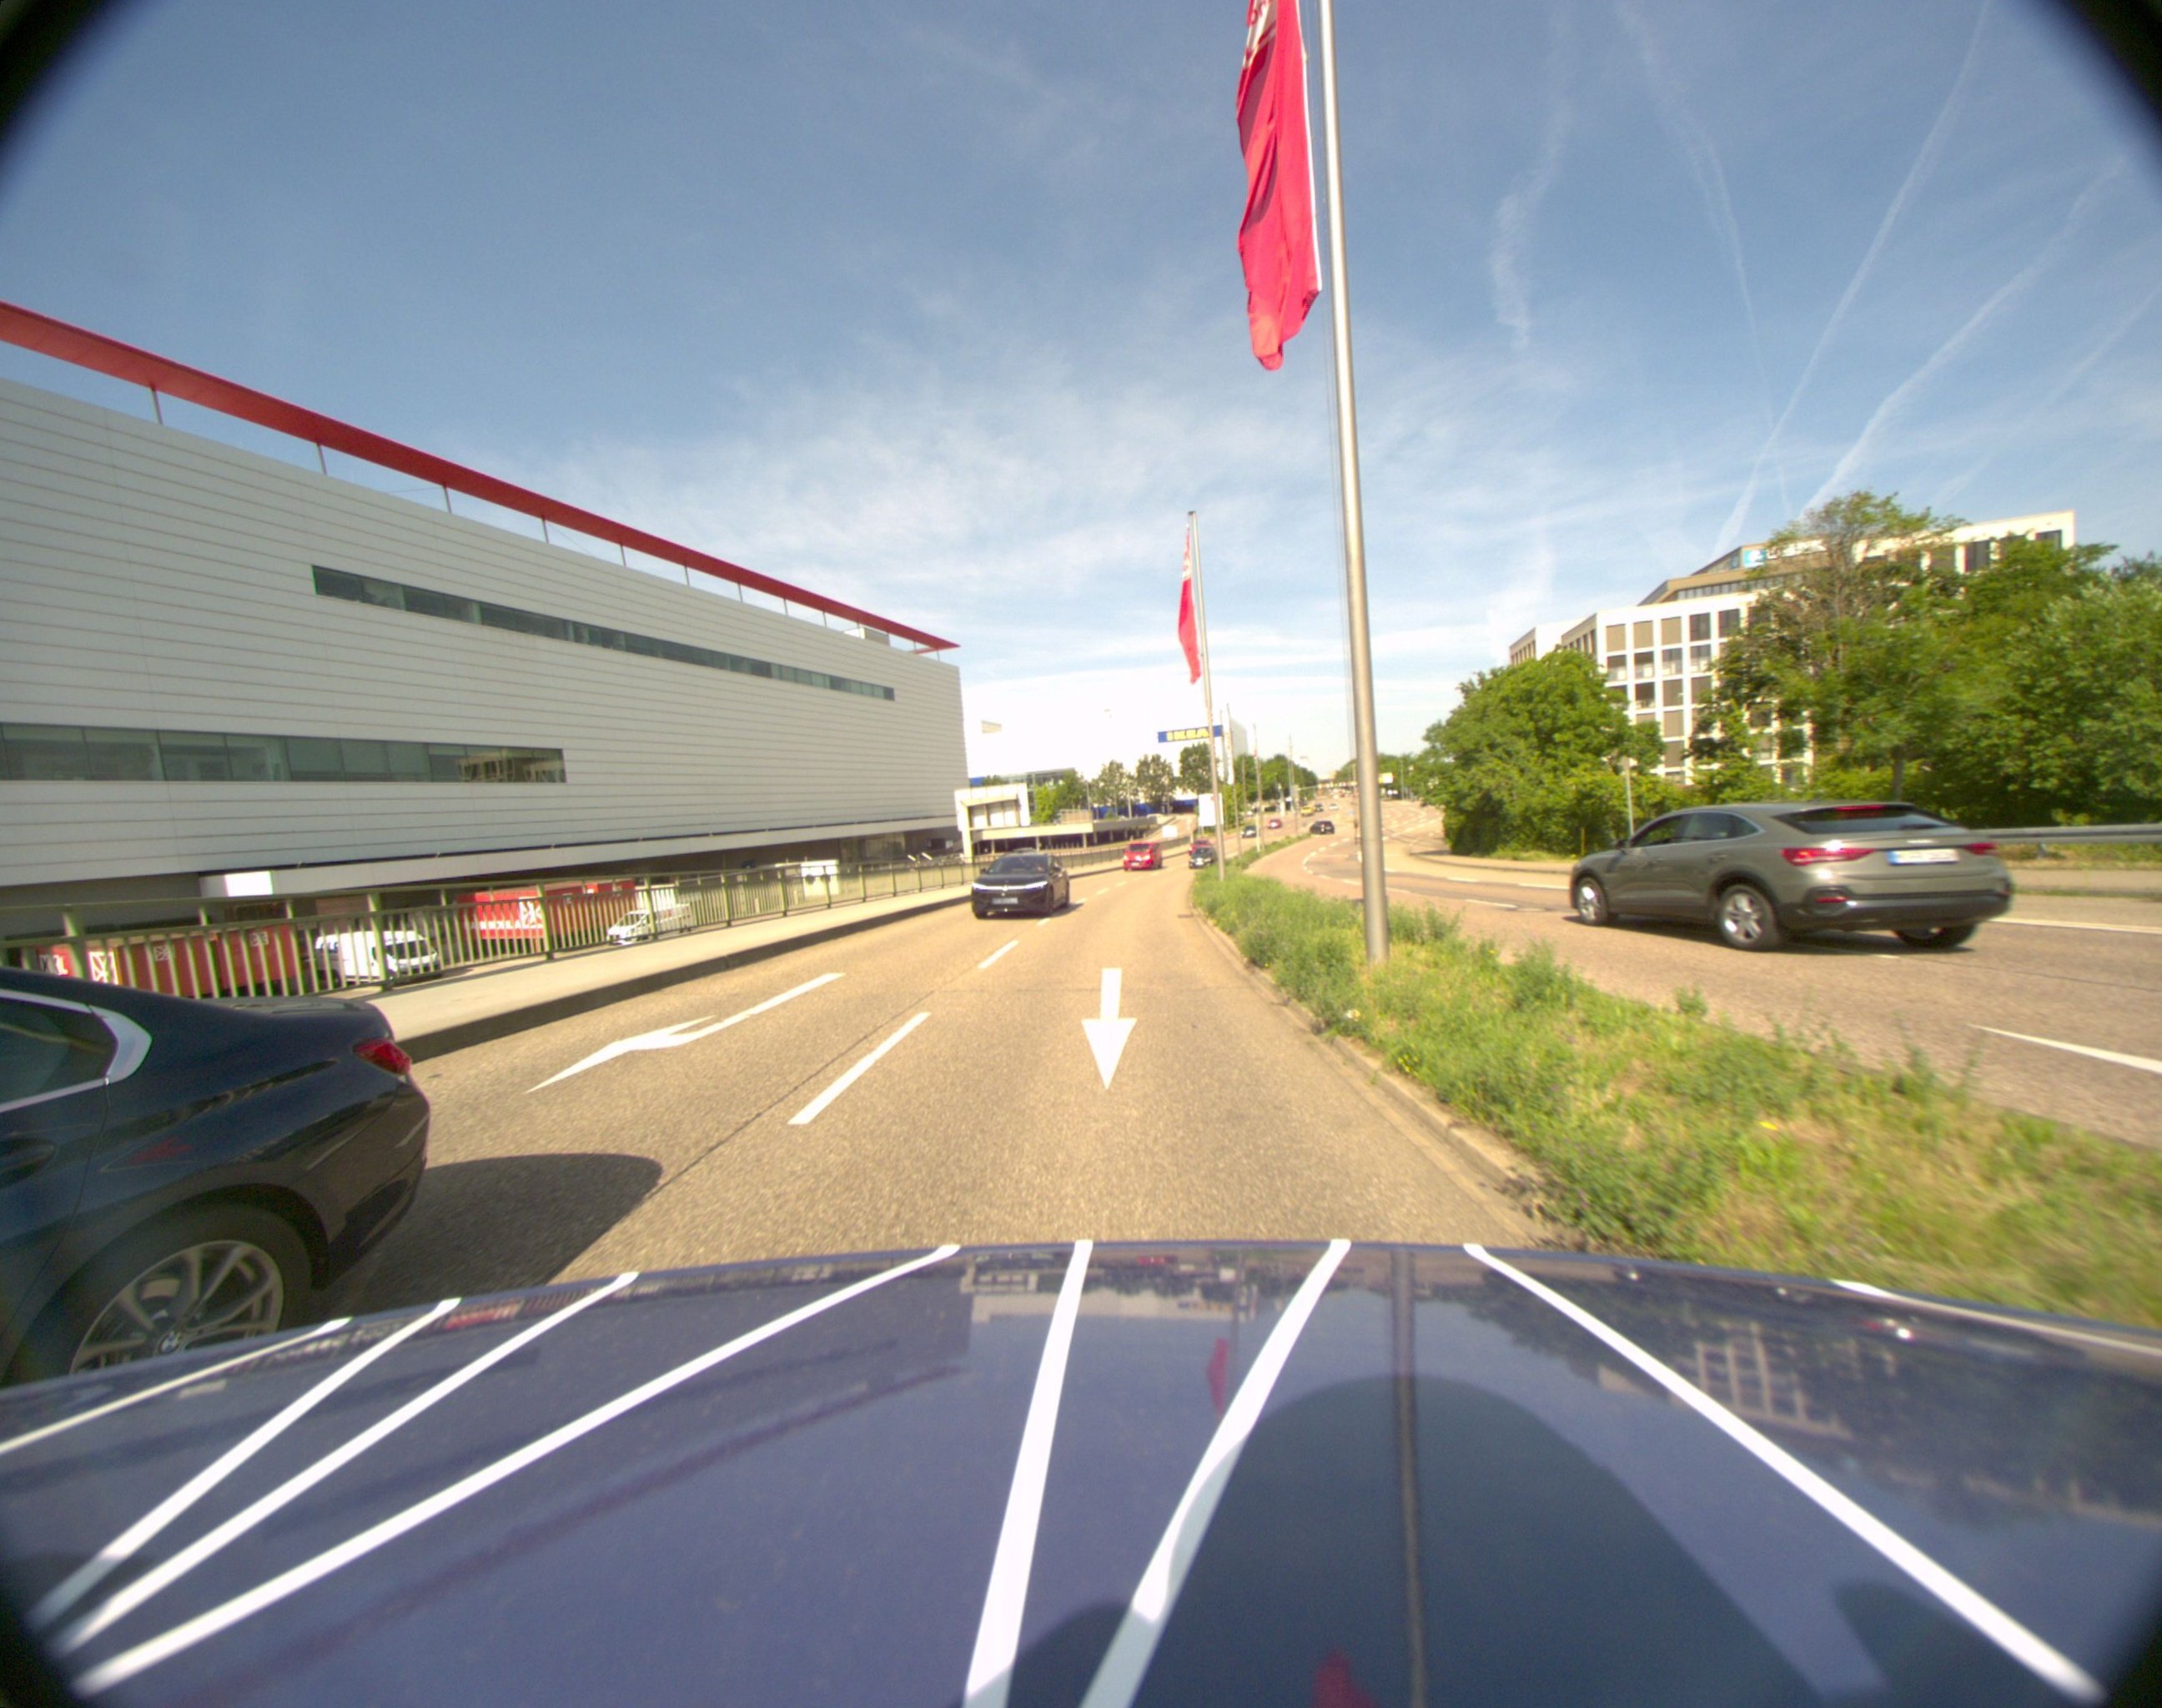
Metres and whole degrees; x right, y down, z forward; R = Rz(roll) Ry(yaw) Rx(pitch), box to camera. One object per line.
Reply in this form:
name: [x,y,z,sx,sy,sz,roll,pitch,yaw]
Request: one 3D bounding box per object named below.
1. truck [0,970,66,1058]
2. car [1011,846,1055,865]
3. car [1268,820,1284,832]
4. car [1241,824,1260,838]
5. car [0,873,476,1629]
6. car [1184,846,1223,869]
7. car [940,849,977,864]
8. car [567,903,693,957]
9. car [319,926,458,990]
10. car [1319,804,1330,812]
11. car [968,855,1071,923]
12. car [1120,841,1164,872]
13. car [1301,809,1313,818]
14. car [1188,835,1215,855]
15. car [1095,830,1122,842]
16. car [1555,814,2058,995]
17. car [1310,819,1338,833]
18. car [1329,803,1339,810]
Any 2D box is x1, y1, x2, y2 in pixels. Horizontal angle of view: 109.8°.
truck: [-42.208,6.151,29.220,5.999,2.912,2.134,-4,4,23]
car: [-5.340,0.178,84.787,4.407,1.723,1.864,-3,4,29]
car: [29.776,-4.312,116.033,1.823,1.467,4.003,-3,4,20]
car: [21.936,-2.991,97.987,1.823,1.467,4.003,-3,4,20]
car: [-3.212,1.015,0.513,1.792,1.476,4.517,-4,4,1]
car: [8.610,0.229,52.980,1.847,1.410,4.005,-2,2,21]
car: [-14.603,0.278,90.688,3.861,1.368,1.812,-5,2,19]
car: [-25.349,4.216,43.055,2.127,1.994,6.016,-2,4,20]
car: [-33.474,5.031,36.730,5.999,2.607,2.133,-4,4,20]
car: [52.474,-9.879,163.730,1.823,1.467,4.003,-2,4,23]
car: [-1.429,0.807,19.301,1.860,1.520,4.146,-1,0,6]
car: [4.214,0.136,52.090,1.985,1.897,4.148,0,3,19]
car: [44.242,-7.974,148.729,1.823,1.467,4.003,-3,4,20]
car: [11.429,-0.874,72.050,1.774,1.649,4.147,0,4,20]
car: [4.812,-3.189,133.138,4.311,1.824,2.001,-3,2,14]
car: [7.493,0.445,8.600,1.788,1.476,4.261,-2,0,4]
car: [28.878,-3.359,90.533,1.861,1.521,4.140,-4,4,-2]
car: [55.893,-10.485,167.812,1.823,1.467,4.003,-3,4,20]
